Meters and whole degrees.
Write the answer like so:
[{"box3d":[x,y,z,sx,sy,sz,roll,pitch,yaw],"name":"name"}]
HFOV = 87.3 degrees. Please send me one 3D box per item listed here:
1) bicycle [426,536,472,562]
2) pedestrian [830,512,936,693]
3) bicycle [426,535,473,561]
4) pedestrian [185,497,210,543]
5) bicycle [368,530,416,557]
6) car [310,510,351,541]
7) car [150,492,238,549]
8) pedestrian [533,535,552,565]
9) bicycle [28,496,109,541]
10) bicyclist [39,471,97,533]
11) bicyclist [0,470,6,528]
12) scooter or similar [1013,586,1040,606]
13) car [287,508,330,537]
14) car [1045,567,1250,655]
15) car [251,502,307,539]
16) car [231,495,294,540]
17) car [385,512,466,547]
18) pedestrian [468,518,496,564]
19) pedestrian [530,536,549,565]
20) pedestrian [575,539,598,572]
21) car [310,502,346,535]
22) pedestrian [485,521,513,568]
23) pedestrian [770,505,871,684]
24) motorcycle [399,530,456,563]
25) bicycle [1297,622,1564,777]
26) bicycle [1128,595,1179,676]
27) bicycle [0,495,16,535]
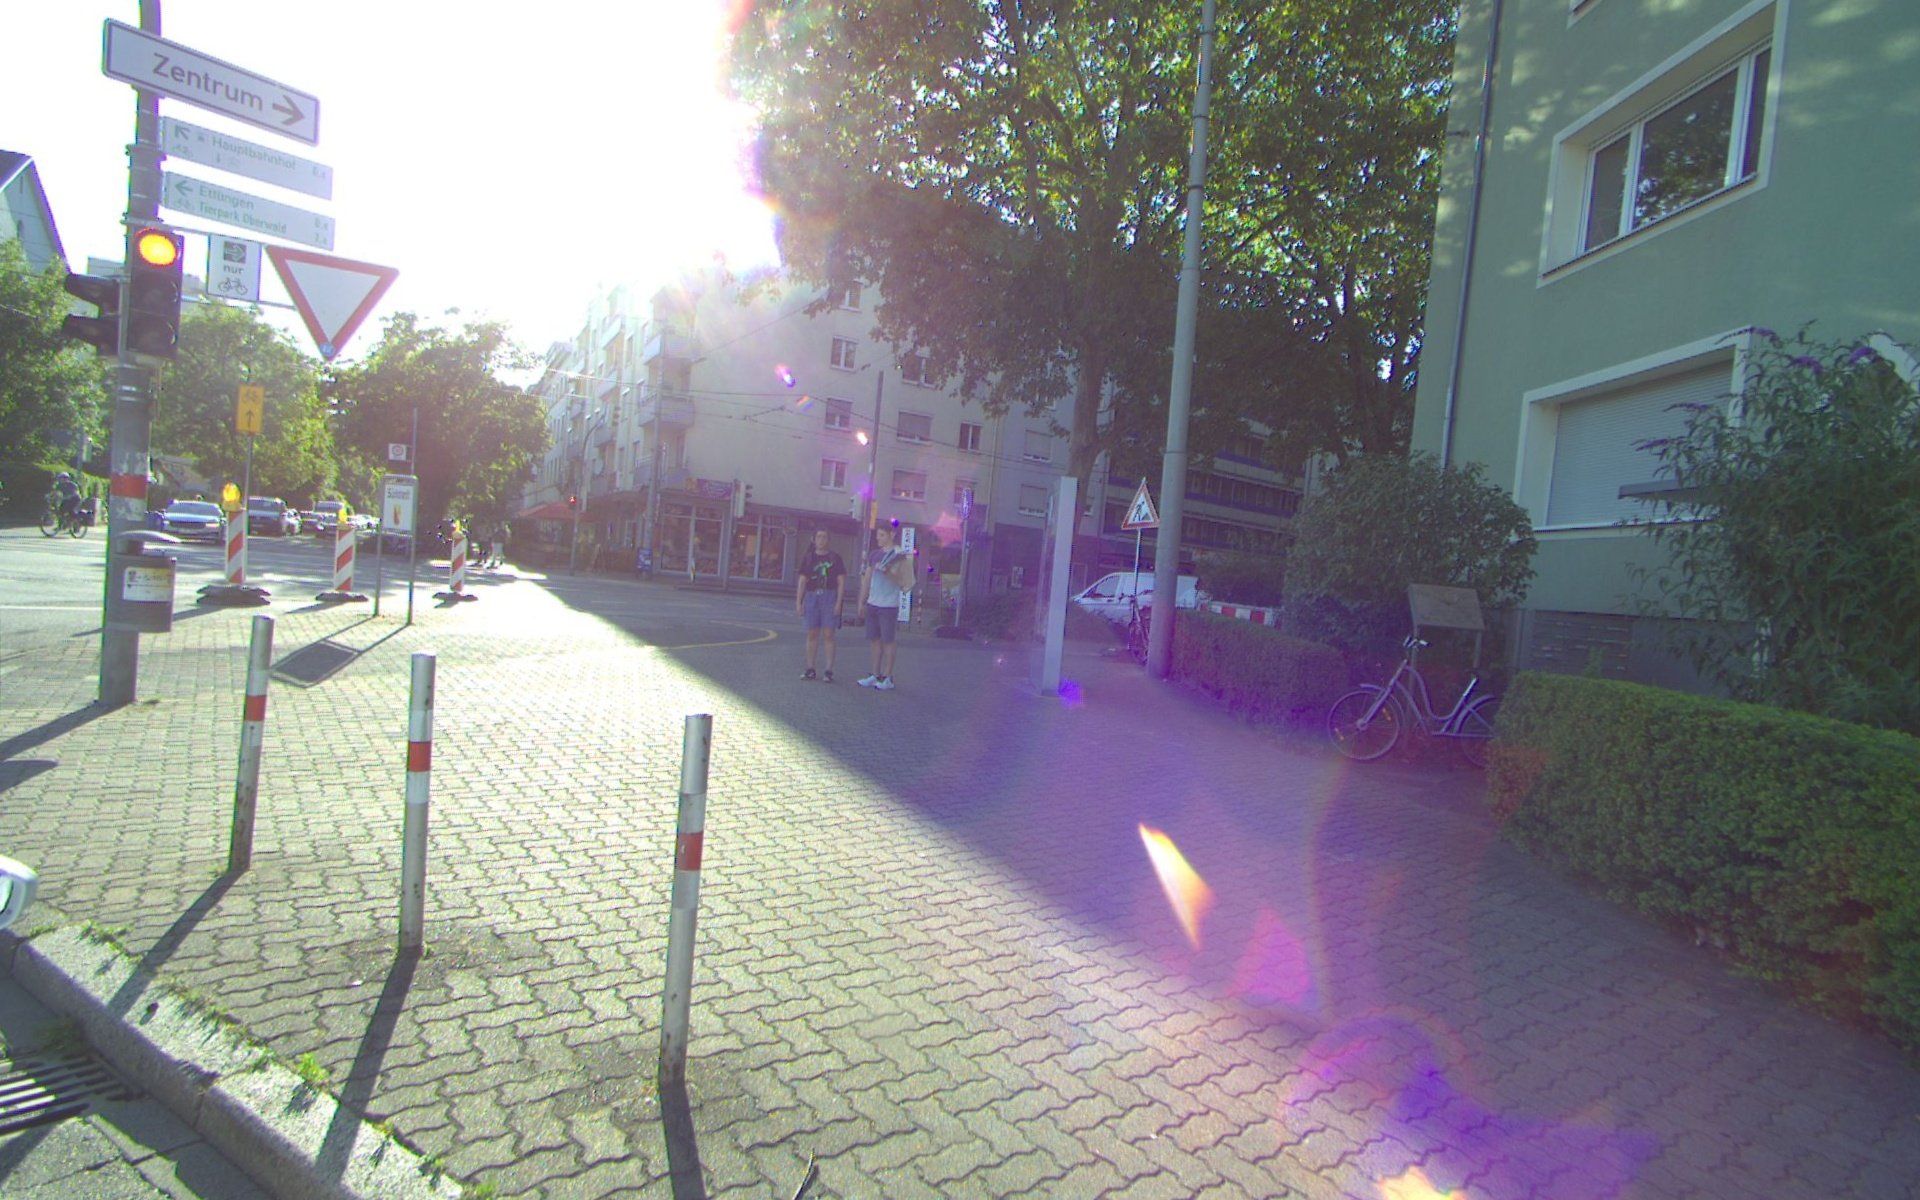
[{"box3d":[-21.977,-2.173,43.280,1.708,0.945,0.557,5,2,-29],"name":"bicycle"},{"box3d":[-0.794,0.025,10.525,0.680,1.774,0.794,6,2,21],"name":"pedestrian"},{"box3d":[-21.607,-2.196,42.609,1.708,0.945,0.557,5,2,-29],"name":"bicycle"},{"box3d":[-32.387,-3.398,42.718,0.656,1.863,0.677,4,3,-30],"name":"pedestrian"},{"box3d":[-23.705,-2.339,42.017,1.708,0.945,0.667,5,2,-29],"name":"bicycle"},{"box3d":[-38.044,-4.495,60.898,1.878,1.585,4.356,5,2,-30],"name":"car"},{"box3d":[-25.974,-2.657,34.233,1.879,1.503,3.967,8,-2,-32],"name":"car"},{"box3d":[-20.825,-2.492,50.206,0.803,1.381,0.908,4,2,-24],"name":"pedestrian"},{"box3d":[-24.493,-2.226,27.672,0.652,1.083,2.014,5,2,-10],"name":"bicycle"},{"box3d":[-24.451,-2.669,27.591,0.686,1.552,1.034,5,2,-10],"name":"bicyclist"},{"box3d":[-26.467,-2.775,27.071,0.650,1.552,1.034,5,2,-12],"name":"bicyclist"},{"box3d":[3.448,-0.198,52.176,1.421,0.966,0.462,4,3,-44],"name":"scooter or similar"},{"box3d":[-47.043,-5.588,72.771,2.336,1.818,5.265,4,2,-31],"name":"car"},{"box3d":[4.708,0.223,26.136,1.913,1.849,5.185,5,0,-37],"name":"car"},{"box3d":[-40.166,-4.688,59.461,2.336,1.818,5.265,4,2,-31],"name":"car"},{"box3d":[-37.335,-4.405,53.988,2.336,2.040,5.265,4,2,-31],"name":"car"},{"box3d":[-39.356,-5.160,74.120,5.050,1.948,2.344,5,0,-32],"name":"car"},{"box3d":[-19.369,-2.395,40.797,0.706,1.774,0.793,5,2,-7],"name":"pedestrian"},{"box3d":[-21.465,-2.532,51.362,0.803,1.381,0.908,4,2,-23],"name":"pedestrian"},{"box3d":[-18.494,-2.200,49.775,0.806,1.565,0.905,3,3,-35],"name":"pedestrian"},{"box3d":[-54.395,-6.990,86.636,2.336,2.548,5.265,4,2,-31],"name":"car"},{"box3d":[-18.494,-2.222,40.369,0.681,1.774,0.793,5,2,-7],"name":"pedestrian"},{"box3d":[-1.477,-0.058,10.728,0.680,1.774,0.794,6,2,13],"name":"pedestrian"},{"box3d":[-21.645,-2.170,40.885,1.938,1.124,0.829,4,2,-34],"name":"motorcycle"},{"box3d":[3.951,0.822,8.553,1.897,1.071,0.521,6,2,5],"name":"bicycle"},{"box3d":[2.863,0.494,15.007,0.511,1.071,1.933,6,2,7],"name":"bicycle"},{"box3d":[-26.523,-2.344,27.049,0.652,1.083,2.013,5,2,-12],"name":"bicycle"}]
